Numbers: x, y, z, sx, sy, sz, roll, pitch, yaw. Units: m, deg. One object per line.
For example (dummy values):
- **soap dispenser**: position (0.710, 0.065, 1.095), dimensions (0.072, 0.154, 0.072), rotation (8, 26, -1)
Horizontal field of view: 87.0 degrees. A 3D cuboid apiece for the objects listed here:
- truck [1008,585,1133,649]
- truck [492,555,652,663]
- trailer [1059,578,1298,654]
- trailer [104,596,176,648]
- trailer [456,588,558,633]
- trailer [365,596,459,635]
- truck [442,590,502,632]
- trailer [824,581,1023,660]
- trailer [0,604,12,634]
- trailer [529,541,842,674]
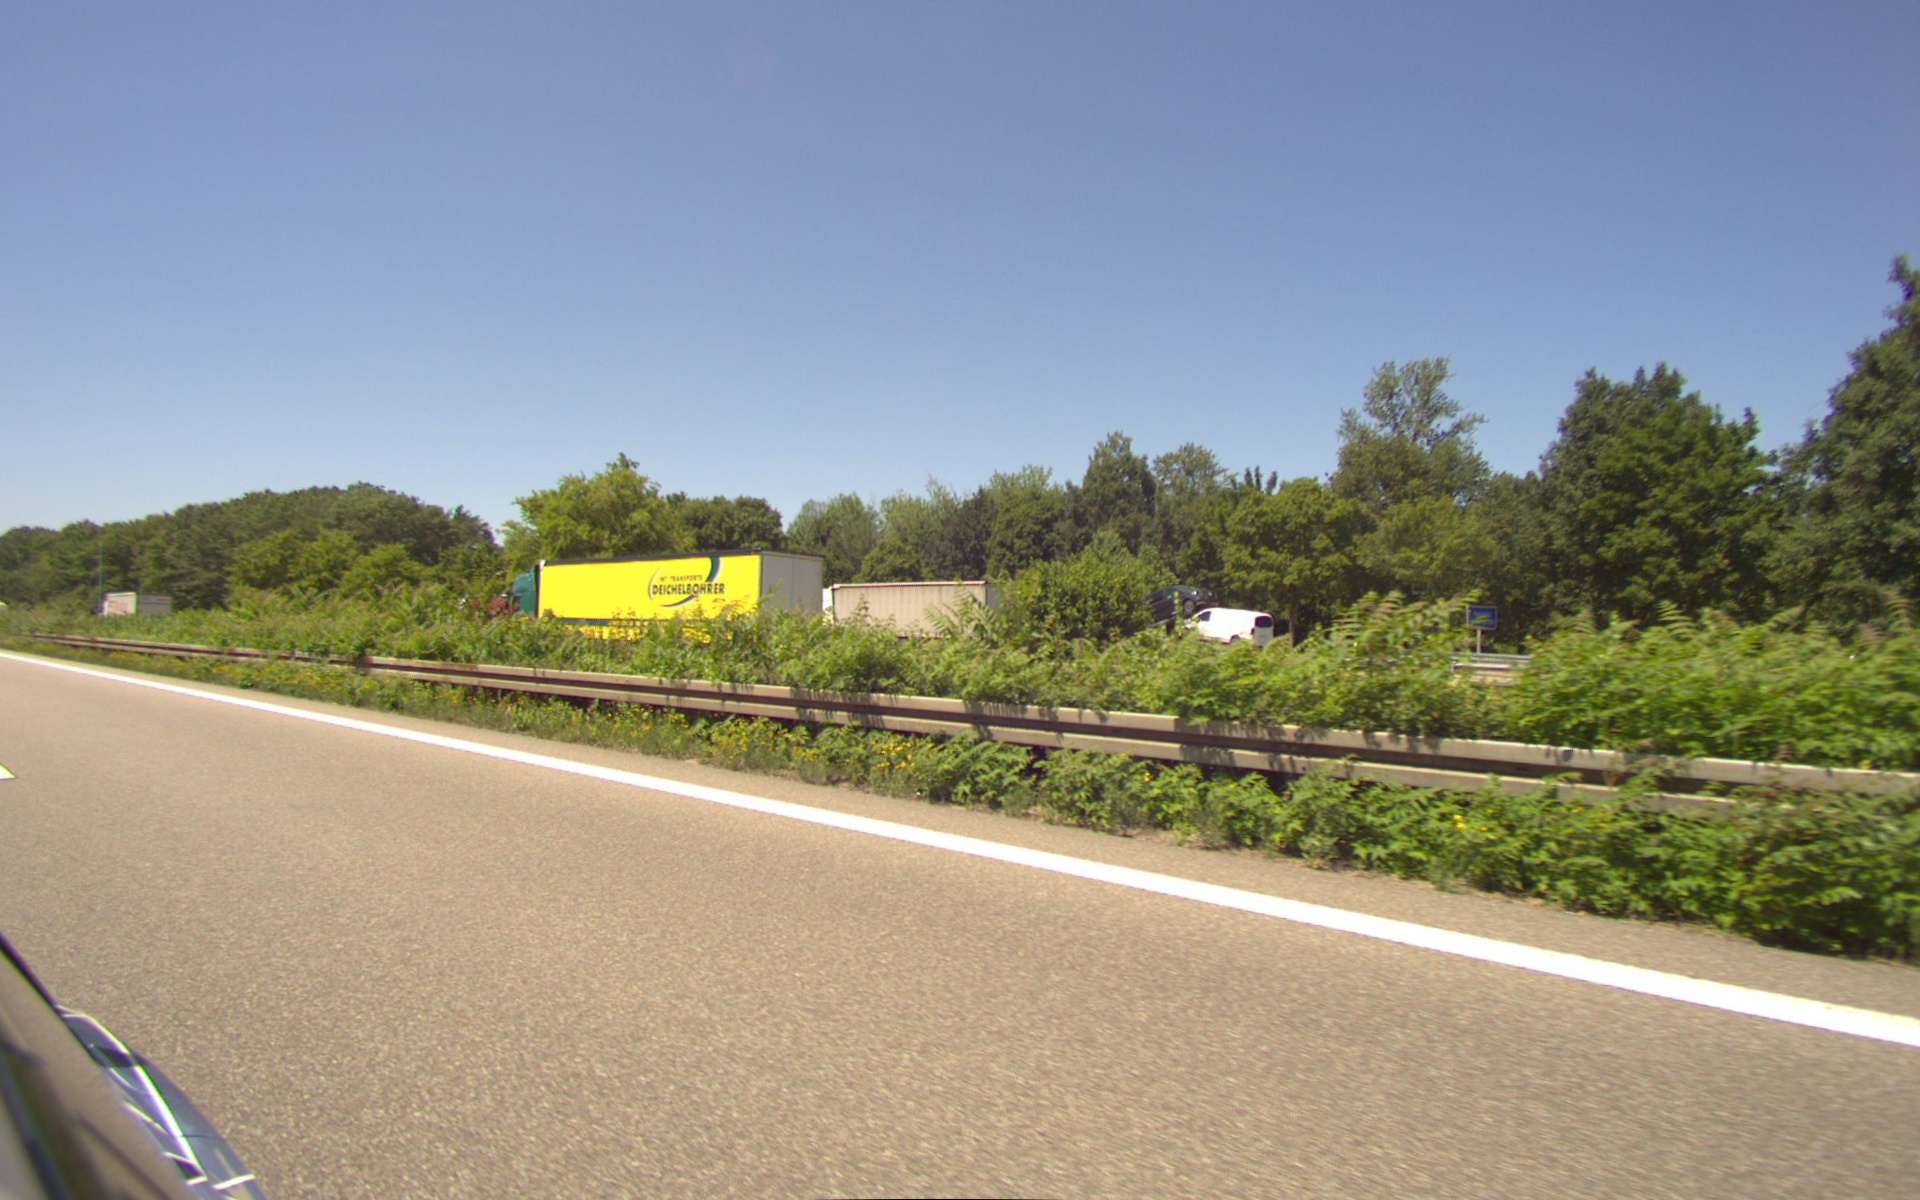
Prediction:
- **truck**: position (6.673, 1.104, 62.351), dimensions (3.554, 3.684, 7.419), rotation (2, -2, -37)
- **truck**: position (-15.264, 0.336, 39.633), dimensions (6.391, 3.854, 3.165), rotation (-1, 0, 41)
- **trailer**: position (11.540, 0.945, 55.931), dimensions (3.554, 3.684, 14.053), rotation (2, -2, -37)
- **trailer**: position (-72.839, 1.892, 89.777), dimensions (11.480, 4.304, 2.873), rotation (-1, 0, 40)
- **trailer**: position (-46.634, 1.149, 103.878), dimensions (14.005, 4.296, 3.566), rotation (-1, -2, 39)
- **trailer**: position (-63.204, 1.781, 116.576), dimensions (13.989, 4.296, 3.570), rotation (-1, -2, 35)
- **truck**: position (-52.297, 1.224, 108.404), dimensions (5.929, 4.296, 3.566), rotation (-1, -2, 38)
- **trailer**: position (-2.540, 1.143, 59.737), dimensions (3.178, 4.167, 14.062), rotation (-1, 0, -44)
- **trailer**: position (-140.935, 2.722, 147.384), dimensions (10.832, 4.296, 2.852), rotation (-1, -2, 41)
- **trailer**: position (-10.040, 0.267, 35.101), dimensions (14.014, 3.854, 3.165), rotation (-1, 0, 41)
